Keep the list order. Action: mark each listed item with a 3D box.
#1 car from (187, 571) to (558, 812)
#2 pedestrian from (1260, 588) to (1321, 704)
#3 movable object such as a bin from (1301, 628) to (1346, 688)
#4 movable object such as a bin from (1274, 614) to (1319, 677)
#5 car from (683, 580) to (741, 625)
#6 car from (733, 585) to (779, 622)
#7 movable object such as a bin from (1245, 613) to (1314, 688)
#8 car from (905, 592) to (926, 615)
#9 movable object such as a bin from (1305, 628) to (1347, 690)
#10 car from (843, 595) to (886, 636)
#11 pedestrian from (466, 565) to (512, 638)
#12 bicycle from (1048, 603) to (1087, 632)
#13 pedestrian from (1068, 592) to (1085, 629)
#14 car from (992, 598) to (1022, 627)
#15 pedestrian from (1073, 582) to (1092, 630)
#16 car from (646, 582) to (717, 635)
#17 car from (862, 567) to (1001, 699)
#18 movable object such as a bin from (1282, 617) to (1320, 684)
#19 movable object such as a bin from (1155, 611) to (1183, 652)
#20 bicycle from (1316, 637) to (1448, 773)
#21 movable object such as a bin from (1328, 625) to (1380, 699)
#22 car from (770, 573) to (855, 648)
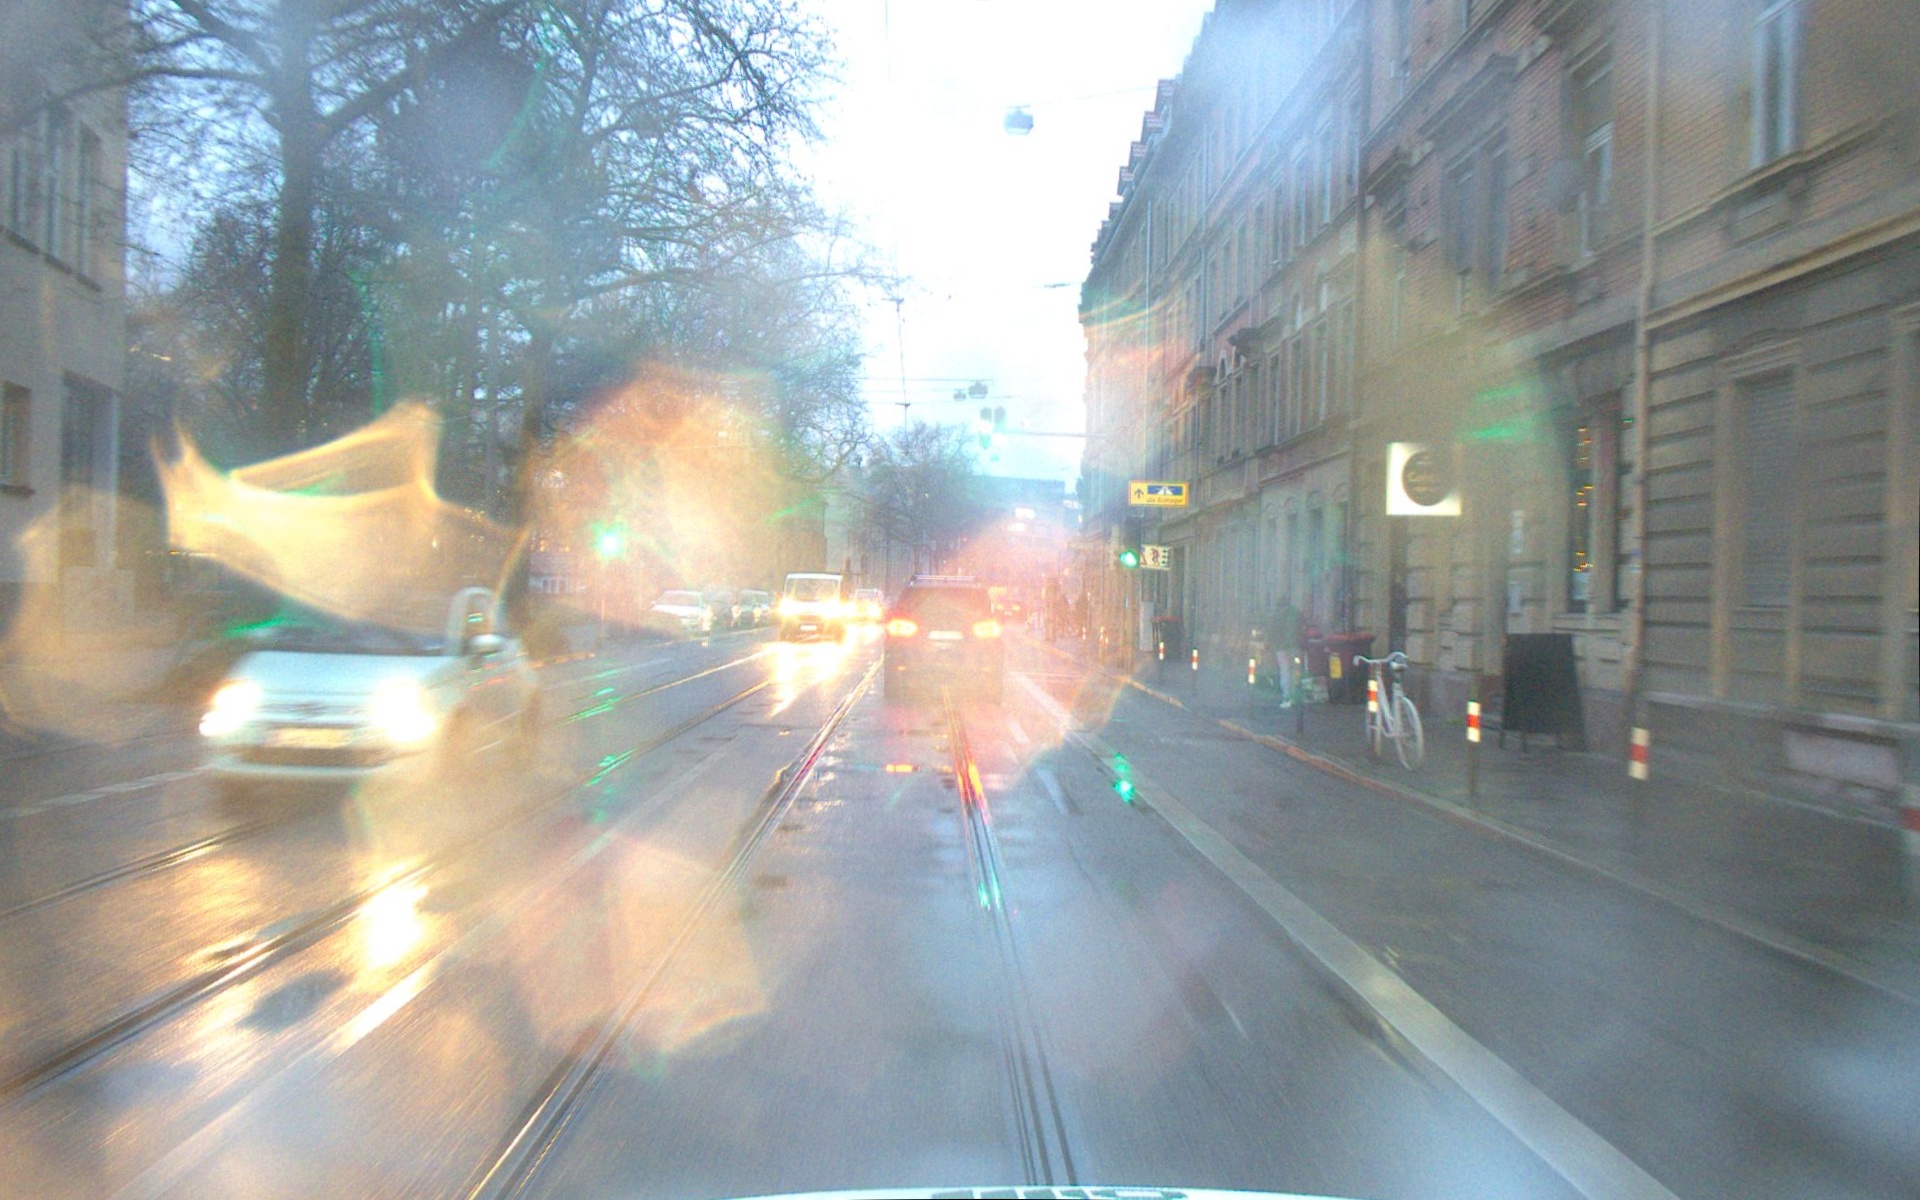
[{"bbox_3d":[-4.147,0.575,12.244,1.499,1.507,3.560,1,0,-1],"label":"car"},{"bbox_3d":[5.072,0.703,25.456,0.817,1.731,0.954,1,-1,7],"label":"pedestrian"},{"bbox_3d":[5.825,0.922,26.524,0.599,0.945,0.491,1,0,-3],"label":"movable object such as a bin"},{"bbox_3d":[5.886,0.787,28.921,0.748,1.056,0.600,1,0,14],"label":"movable object such as a bin"},{"bbox_3d":[-9.785,0.104,65.561,1.945,1.643,4.424,2,0,-5],"label":"car"},{"bbox_3d":[-9.477,0.176,77.220,1.945,1.643,4.424,2,0,-5],"label":"car"},{"bbox_3d":[5.781,0.899,29.967,0.871,1.311,1.260,0,0,-8],"label":"movable object such as a bin"},{"bbox_3d":[-4.229,0.357,156.974,1.953,2.049,3.999,2,0,-1],"label":"car"},{"bbox_3d":[5.750,0.916,25.962,0.482,0.945,0.421,0,0,-28],"label":"movable object such as a bin"},{"bbox_3d":[-5.035,0.820,87.885,1.952,2.049,4.000,1,0,1],"label":"car"},{"bbox_3d":[-12.281,0.037,43.141,0.803,1.847,1.010,1,-1,4],"label":"pedestrian"},{"bbox_3d":[4.507,0.738,69.346,0.781,1.164,2.230,2,0,-20],"label":"bicycle"},{"bbox_3d":[5.811,0.510,82.282,0.756,1.806,0.684,1,-1,-1],"label":"pedestrian"},{"bbox_3d":[3.172,0.810,112.124,1.952,1.874,4.001,1,0,1],"label":"car"},{"bbox_3d":[5.140,0.242,69.570,0.701,1.987,0.657,1,-1,-1],"label":"pedestrian"},{"bbox_3d":[-9.244,0.268,55.153,1.945,1.643,4.424,2,0,-5],"label":"car"},{"bbox_3d":[-0.363,0.478,25.876,1.952,1.874,4.001,1,0,2],"label":"car"},{"bbox_3d":[5.834,0.856,28.256,0.598,1.101,0.600,1,0,14],"label":"movable object such as a bin"},{"bbox_3d":[5.651,0.841,44.718,0.627,1.073,0.744,1,-1,-1],"label":"movable object such as a bin"},{"bbox_3d":[4.045,0.972,16.013,0.670,1.176,2.188,1,0,-1],"label":"bicycle"},{"bbox_3d":[6.049,0.944,25.412,0.604,1.099,0.487,0,0,-30],"label":"movable object such as a bin"},{"bbox_3d":[-4.910,0.347,55.980,2.397,2.388,5.843,0,0,-1],"label":"car"}]
